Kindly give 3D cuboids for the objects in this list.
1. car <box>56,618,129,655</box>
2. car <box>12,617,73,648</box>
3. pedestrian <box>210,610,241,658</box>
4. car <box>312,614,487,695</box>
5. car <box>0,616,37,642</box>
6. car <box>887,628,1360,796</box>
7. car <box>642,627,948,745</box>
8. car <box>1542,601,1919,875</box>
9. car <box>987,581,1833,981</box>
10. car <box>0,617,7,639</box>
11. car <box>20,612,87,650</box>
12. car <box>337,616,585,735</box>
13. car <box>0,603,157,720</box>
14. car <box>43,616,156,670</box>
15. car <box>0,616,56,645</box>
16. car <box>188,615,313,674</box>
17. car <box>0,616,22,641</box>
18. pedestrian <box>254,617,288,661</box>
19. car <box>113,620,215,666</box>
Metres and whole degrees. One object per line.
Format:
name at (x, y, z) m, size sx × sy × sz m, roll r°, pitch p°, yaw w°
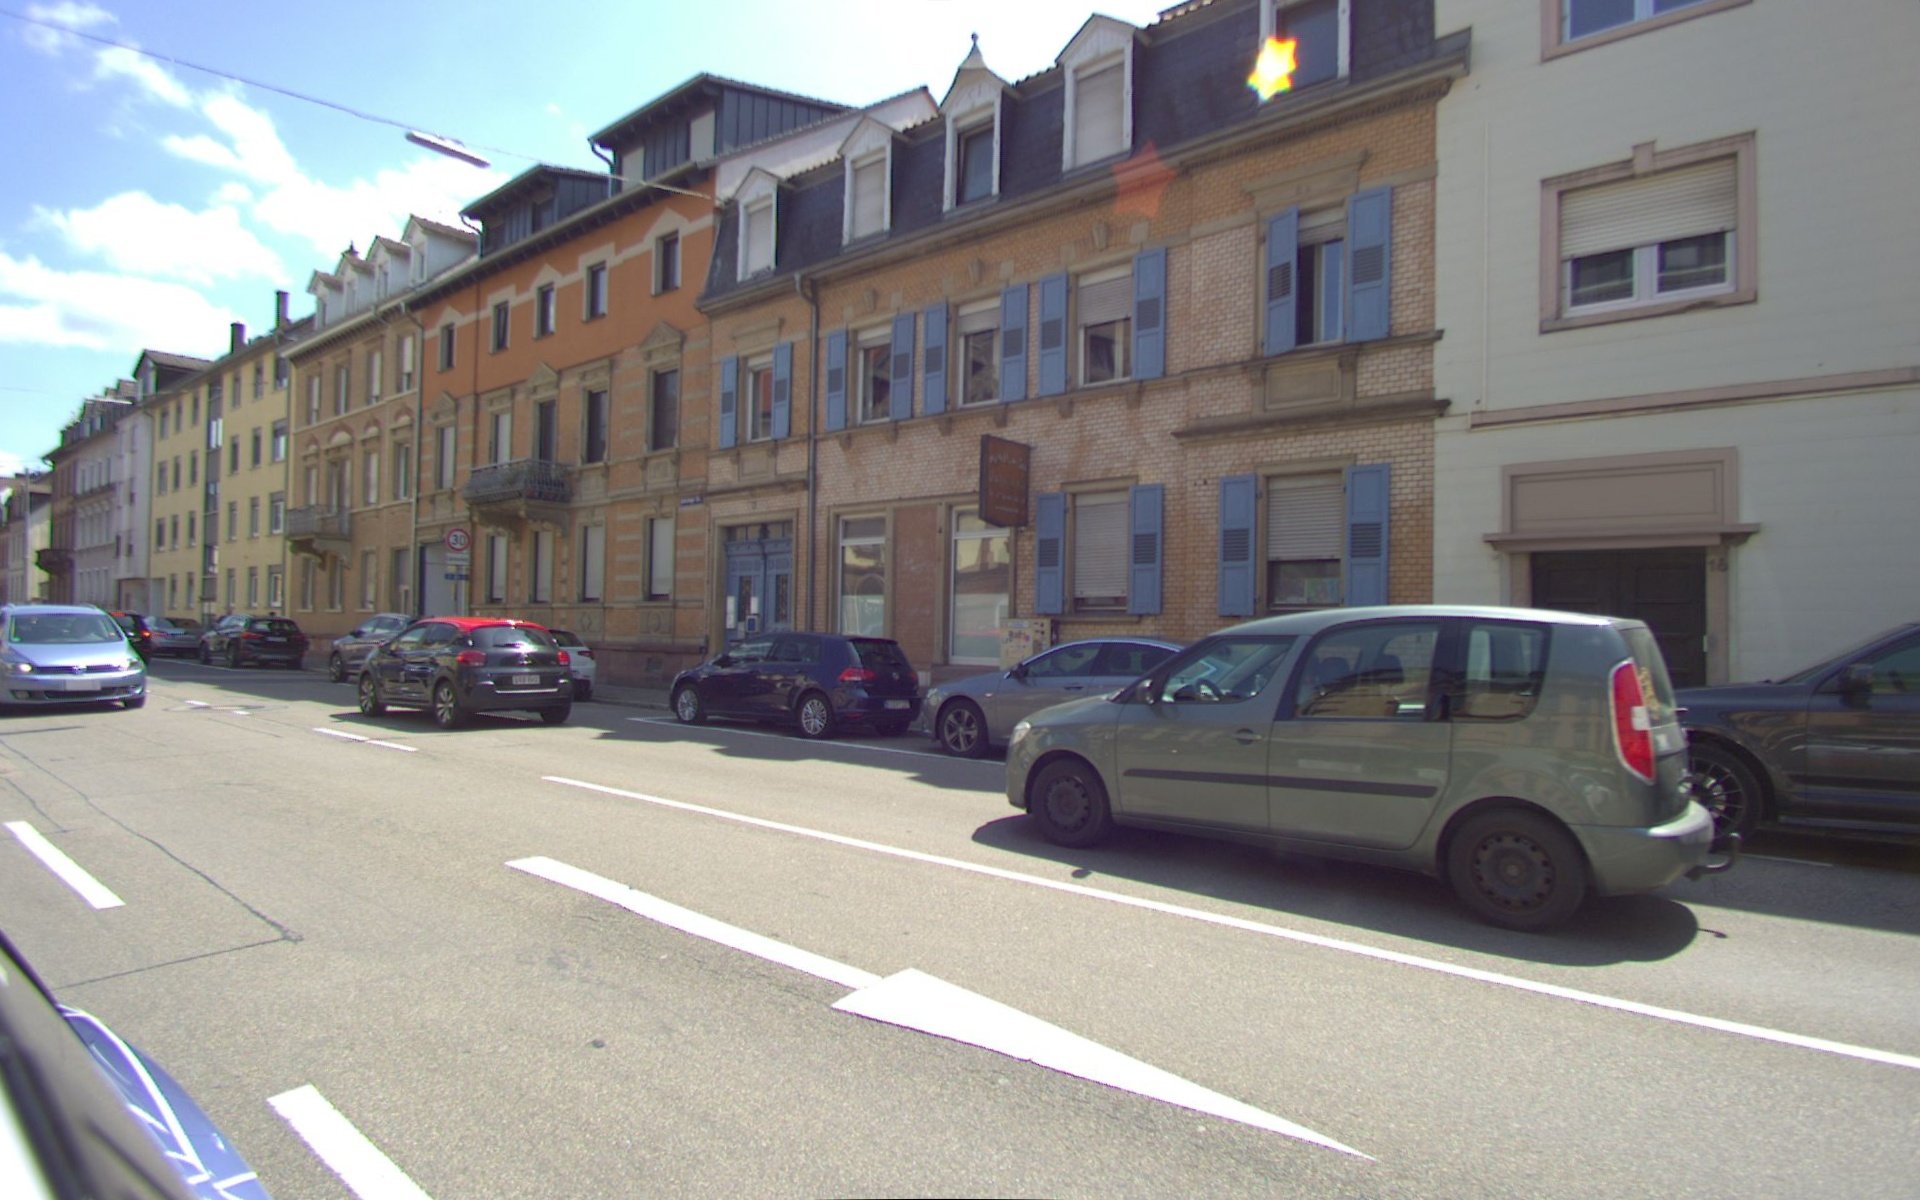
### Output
car at (-37.764, 1.593, 44.029) m, size 3.913 × 1.421 × 1.726 m, roll -1°, pitch -6°, yaw 41°
car at (-47.491, 1.657, 52.385) m, size 4.282 × 1.421 × 1.726 m, roll -1°, pitch -6°, yaw 41°
pedestrian at (-27.336, 1.268, 37.656) m, size 0.793 × 1.769 × 0.877 m, roll 3°, pitch -3°, yaw -42°
car at (-13.011, 1.234, 23.390) m, size 4.495 × 1.640 × 1.847 m, roll 0°, pitch -6°, yaw 39°
car at (-56.452, 1.685, 59.996) m, size 4.097 × 1.421 × 1.728 m, roll 0°, pitch -6°, yaw 37°
car at (1.649, 1.122, 11.183) m, size 4.830 × 1.417 × 1.847 m, roll 0°, pitch -6°, yaw 37°
car at (-2.474, 1.196, 14.703) m, size 4.323 × 1.417 × 1.848 m, roll 0°, pitch -6°, yaw 37°
car at (6.704, 0.884, 6.598) m, size 4.814 × 1.653 × 1.865 m, roll -1°, pitch -4°, yaw 41°
car at (2.372, 0.781, 6.091) m, size 4.309 × 1.587 × 1.684 m, roll -1°, pitch -3°, yaw 40°
car at (-64.951, 1.800, 67.152) m, size 4.097 × 1.421 × 1.728 m, roll 0°, pitch -6°, yaw 37°
car at (-42.876, 1.503, 47.952) m, size 1.721 × 1.600 × 3.962 m, roll 6°, pitch -5°, yaw -34°
car at (-7.293, 1.005, 14.625) m, size 4.130 × 1.489 × 1.684 m, roll -1°, pitch -3°, yaw 40°
car at (-14.043, 0.876, 15.678) m, size 3.997 × 1.580 × 1.736 m, roll -1°, pitch -2°, yaw 40°
car at (-25.638, 1.263, 30.120) m, size 4.240 × 1.506 × 1.743 m, roll -1°, pitch -3°, yaw 39°
car at (-51.649, 1.662, 55.846) m, size 4.506 × 1.421 × 1.728 m, roll 0°, pitch -6°, yaw 37°
car at (-21.703, 1.341, 30.901) m, size 4.495 × 1.563 × 1.847 m, roll 0°, pitch -6°, yaw 39°
car at (-60.732, 1.740, 63.628) m, size 4.097 × 1.421 × 1.728 m, roll 0°, pitch -6°, yaw 37°
pedestrian at (-24.800, 1.394, 36.412) m, size 0.876 × 1.546 × 0.793 m, roll -1°, pitch -3°, yaw 45°
car at (-28.926, 1.535, 36.743) m, size 4.682 × 1.463 × 1.885 m, roll -1°, pitch -6°, yaw 40°
